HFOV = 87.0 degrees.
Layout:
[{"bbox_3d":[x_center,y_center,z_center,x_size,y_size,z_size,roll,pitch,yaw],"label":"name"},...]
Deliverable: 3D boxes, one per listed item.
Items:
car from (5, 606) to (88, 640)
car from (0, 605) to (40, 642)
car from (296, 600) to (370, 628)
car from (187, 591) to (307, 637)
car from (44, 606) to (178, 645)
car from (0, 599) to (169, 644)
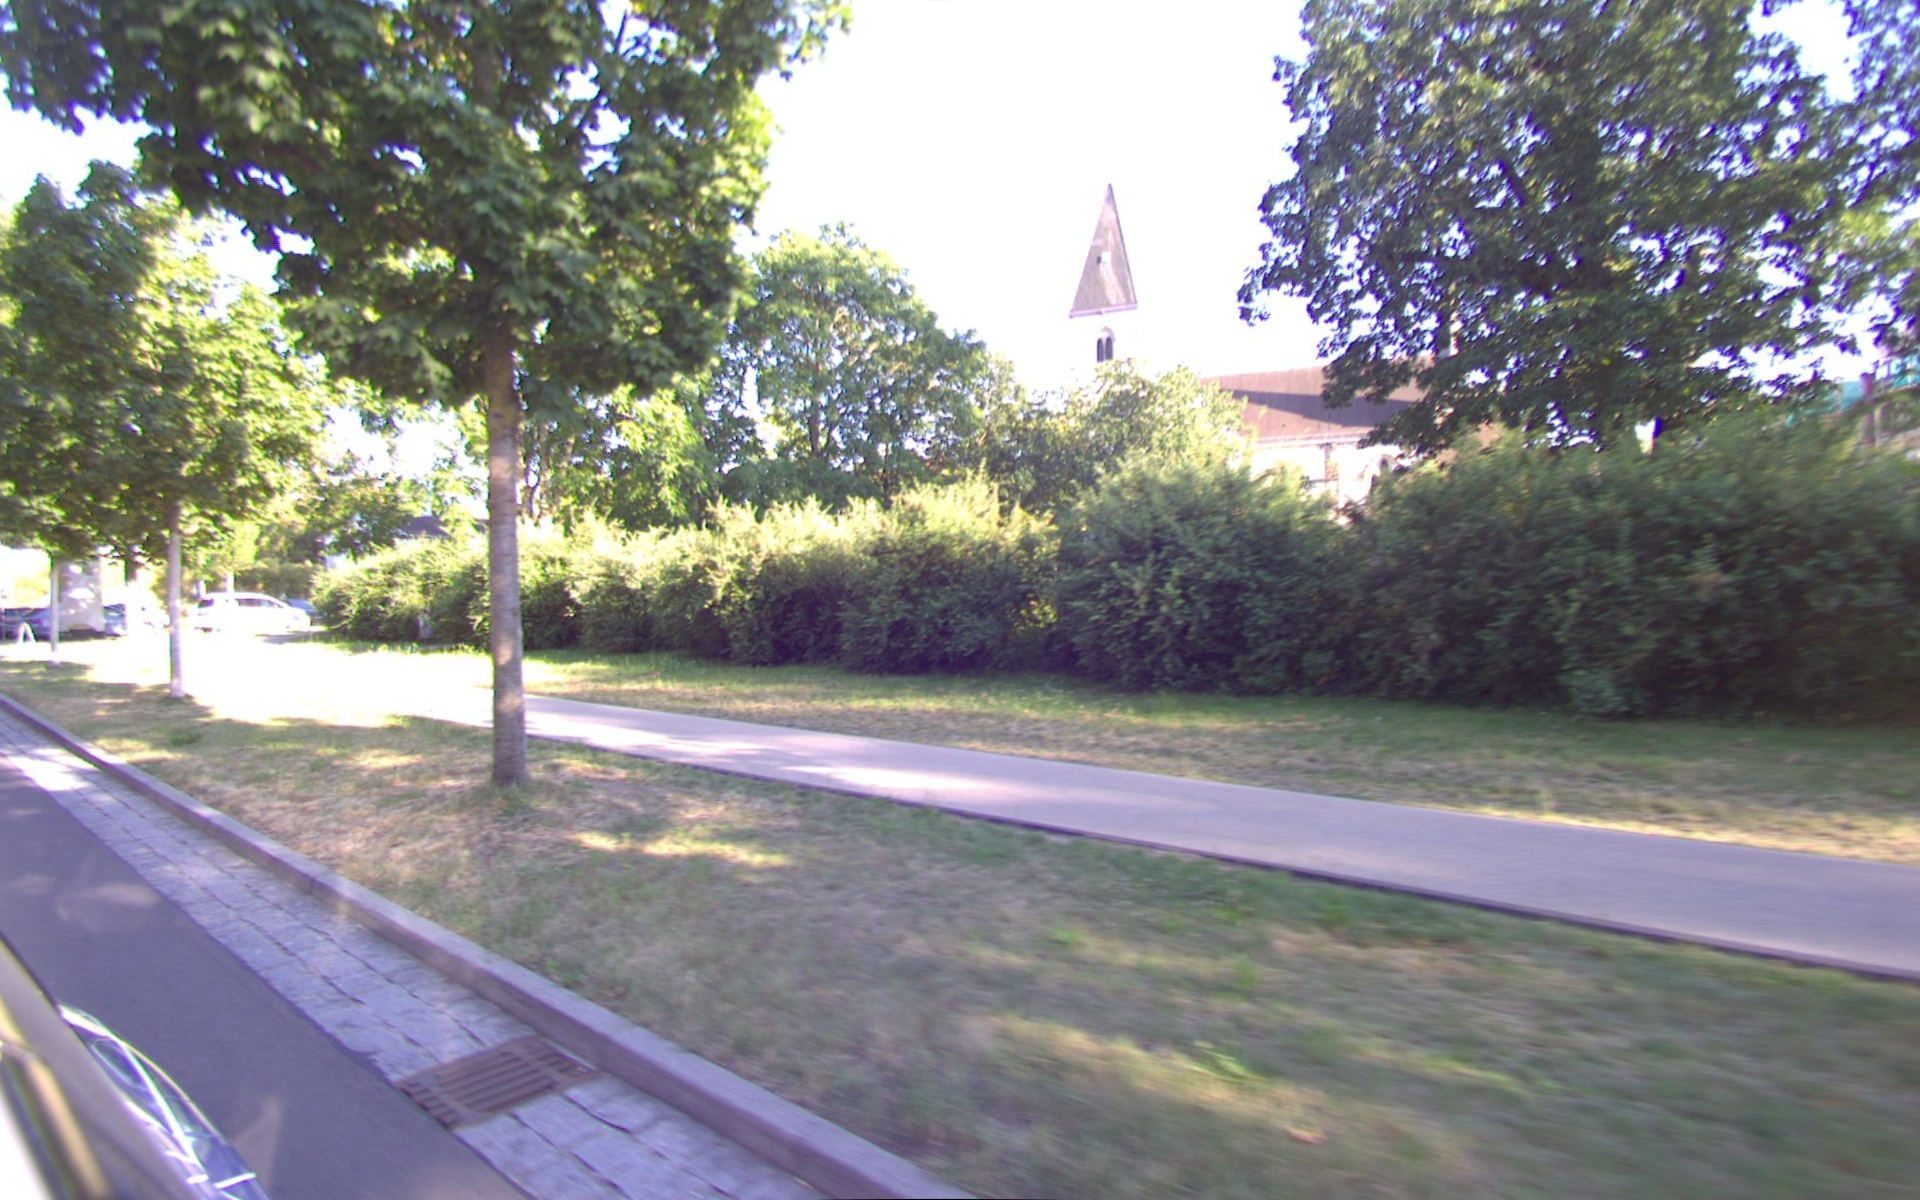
[{"bbox_3d":[-43.301,1.066,47.990,3.332,1.502,1.626,0,1,22],"label":"car"},{"bbox_3d":[-43.271,1.037,45.234,3.972,1.527,1.634,0,1,22],"label":"car"},{"bbox_3d":[-37.049,0.779,59.845,3.896,1.549,1.733,0,1,21],"label":"car"},{"bbox_3d":[-32.685,0.608,46.553,1.751,1.930,4.206,-1,1,23],"label":"car"},{"bbox_3d":[-38.392,1.127,45.893,1.773,1.546,4.310,-2,0,25],"label":"car"},{"bbox_3d":[-34.988,0.836,40.595,1.856,1.570,4.801,-1,1,23],"label":"car"}]
